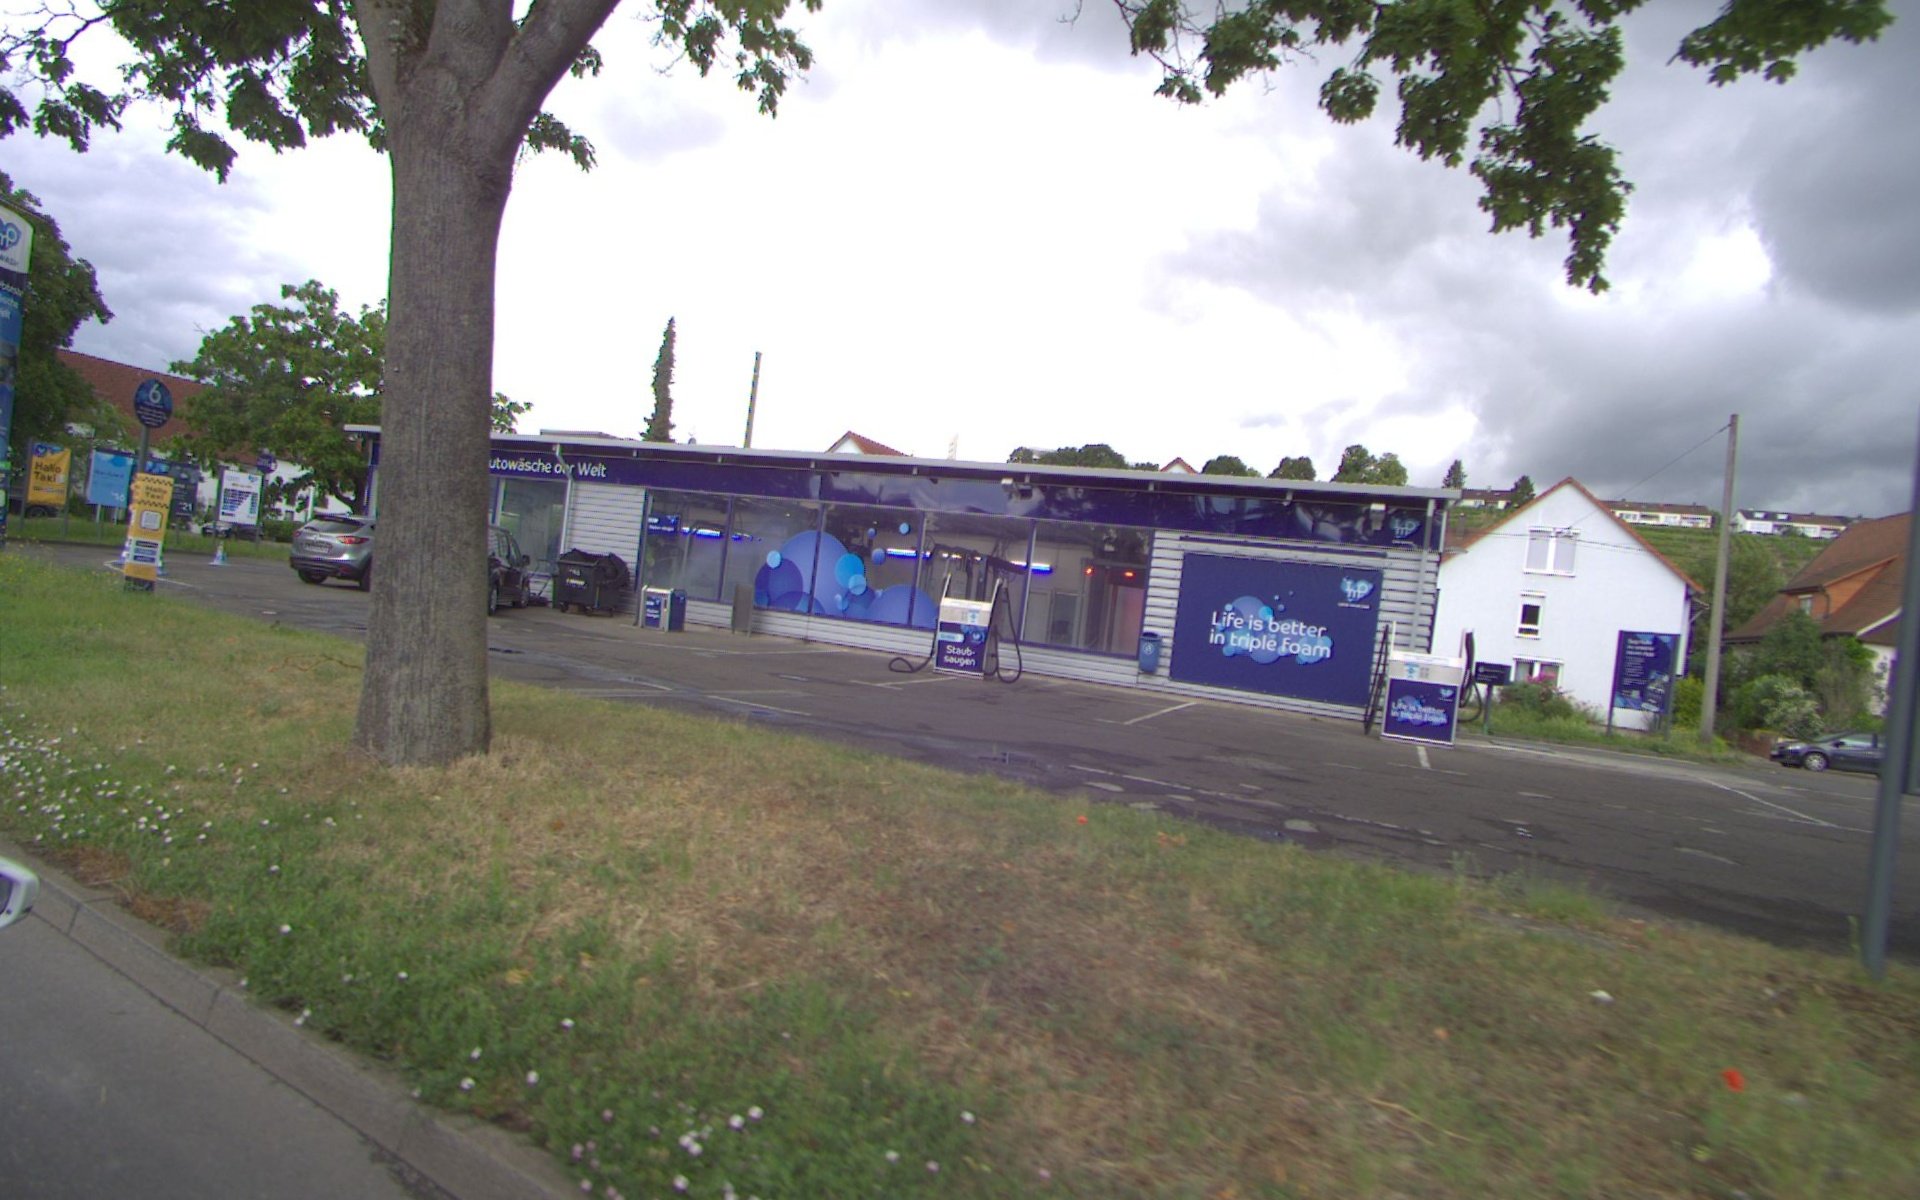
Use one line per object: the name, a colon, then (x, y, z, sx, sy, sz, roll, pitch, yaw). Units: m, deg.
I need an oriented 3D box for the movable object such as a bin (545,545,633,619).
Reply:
movable object such as a bin: (-8.632, -0.415, 23.420, 1.363, 1.493, 1.161, 7, 0, 26)

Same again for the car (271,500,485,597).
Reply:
car: (-13.418, -1.122, 23.525, 1.805, 1.718, 4.214, 8, 0, 12)

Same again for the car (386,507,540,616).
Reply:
car: (-10.311, -0.763, 21.229, 1.723, 1.844, 4.373, 7, 0, -12)

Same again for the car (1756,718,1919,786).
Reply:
car: (28.016, 4.793, 31.766, 3.925, 1.480, 2.003, 7, -3, 18)

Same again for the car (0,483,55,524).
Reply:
car: (-43.142, -4.482, 44.608, 1.678, 1.544, 4.155, 6, -1, 35)

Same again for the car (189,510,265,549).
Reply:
car: (-46.240, -4.419, 63.566, 1.966, 1.785, 4.000, 8, -3, -6)

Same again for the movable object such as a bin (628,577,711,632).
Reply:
movable object such as a bin: (-6.261, 0.110, 21.718, 1.167, 0.988, 1.161, 7, 0, 26)

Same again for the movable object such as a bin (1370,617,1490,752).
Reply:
movable object such as a bin: (7.267, 1.283, 15.583, 1.430, 1.841, 1.161, 7, 0, 26)
